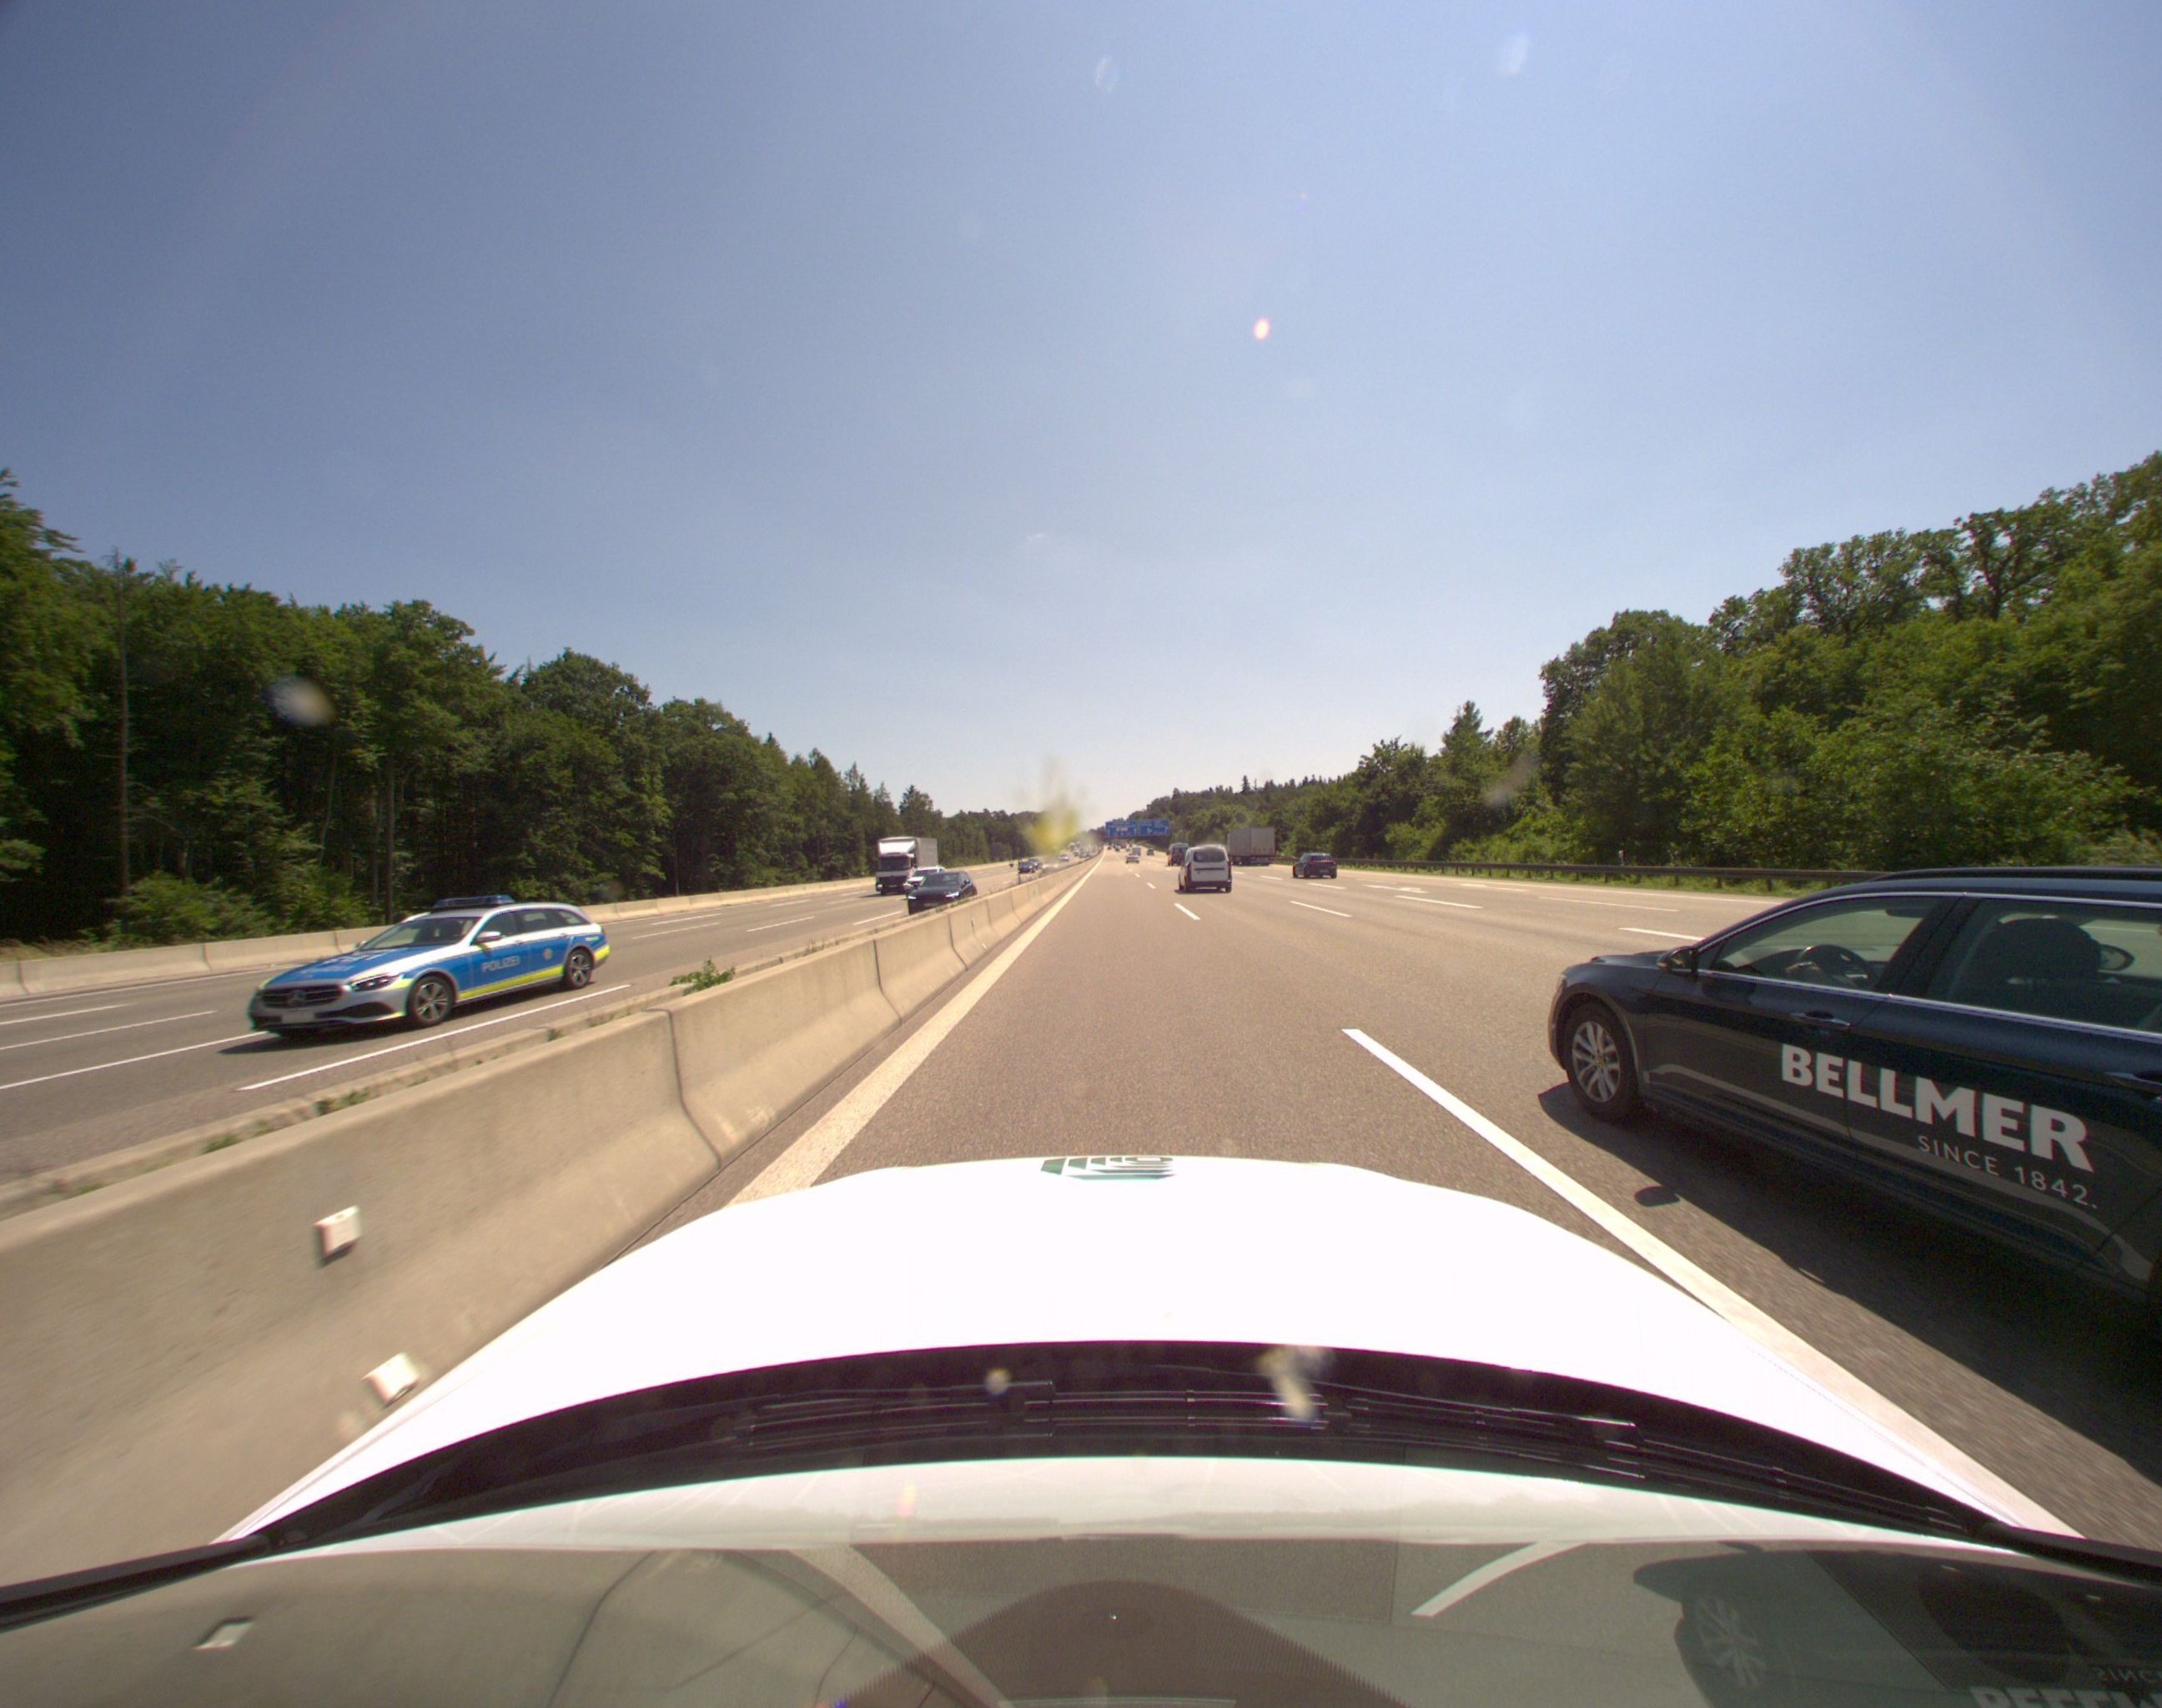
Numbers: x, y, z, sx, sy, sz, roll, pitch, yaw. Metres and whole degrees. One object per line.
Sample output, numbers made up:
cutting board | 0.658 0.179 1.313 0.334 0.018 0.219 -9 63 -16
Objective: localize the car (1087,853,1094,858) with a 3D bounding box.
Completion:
car | 2.637 0.524 234.430 1.746 1.377 4.493 -4 0 2

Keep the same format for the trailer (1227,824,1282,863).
trailer | 18.658 -1.130 88.578 3.275 3.930 13.895 -1 1 1

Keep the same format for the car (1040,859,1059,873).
car | -3.387 1.249 88.611 1.818 1.394 4.464 -3 0 0

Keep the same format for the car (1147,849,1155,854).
car | 18.990 -0.629 220.824 1.828 1.338 3.645 -3 0 2

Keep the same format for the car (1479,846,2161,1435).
car | 3.625 0.714 3.349 1.722 1.447 4.964 -2 0 3

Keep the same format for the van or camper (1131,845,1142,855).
van or camper | 15.120 -1.031 221.170 2.635 2.538 6.505 -3 0 2

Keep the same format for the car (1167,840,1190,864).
car | 11.103 -0.271 93.099 2.135 2.652 5.713 -2 1 2

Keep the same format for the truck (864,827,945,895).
truck | -11.654 0.459 54.796 2.847 4.012 9.472 -3 0 2

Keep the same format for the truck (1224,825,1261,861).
truck | 18.840 -1.304 95.468 3.242 4.106 5.990 -1 1 2

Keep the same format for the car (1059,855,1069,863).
car | -3.745 1.050 177.334 1.964 1.724 4.508 2 0 0

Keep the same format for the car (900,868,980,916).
car | -4.920 1.293 28.970 1.906 1.464 4.365 -3 -1 2

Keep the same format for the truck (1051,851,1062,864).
truck | -7.897 1.110 260.752 2.709 3.939 10.240 -3 0 2

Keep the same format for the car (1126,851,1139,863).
car | 7.447 0.419 118.390 1.835 1.629 4.556 -3 0 3

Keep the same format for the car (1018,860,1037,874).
car | -6.101 1.475 93.960 1.696 1.427 4.615 -3 0 1

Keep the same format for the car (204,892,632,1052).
car | -9.246 1.511 12.190 1.906 1.512 5.234 -4 0 2

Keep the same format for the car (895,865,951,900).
car | -8.521 1.502 44.422 1.906 1.661 4.691 -3 0 2

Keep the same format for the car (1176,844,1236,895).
car | 5.000 0.595 33.187 1.852 1.826 4.615 -3 0 3

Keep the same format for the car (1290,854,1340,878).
car | 13.110 0.687 45.819 1.664 1.273 4.292 -2 -1 2
